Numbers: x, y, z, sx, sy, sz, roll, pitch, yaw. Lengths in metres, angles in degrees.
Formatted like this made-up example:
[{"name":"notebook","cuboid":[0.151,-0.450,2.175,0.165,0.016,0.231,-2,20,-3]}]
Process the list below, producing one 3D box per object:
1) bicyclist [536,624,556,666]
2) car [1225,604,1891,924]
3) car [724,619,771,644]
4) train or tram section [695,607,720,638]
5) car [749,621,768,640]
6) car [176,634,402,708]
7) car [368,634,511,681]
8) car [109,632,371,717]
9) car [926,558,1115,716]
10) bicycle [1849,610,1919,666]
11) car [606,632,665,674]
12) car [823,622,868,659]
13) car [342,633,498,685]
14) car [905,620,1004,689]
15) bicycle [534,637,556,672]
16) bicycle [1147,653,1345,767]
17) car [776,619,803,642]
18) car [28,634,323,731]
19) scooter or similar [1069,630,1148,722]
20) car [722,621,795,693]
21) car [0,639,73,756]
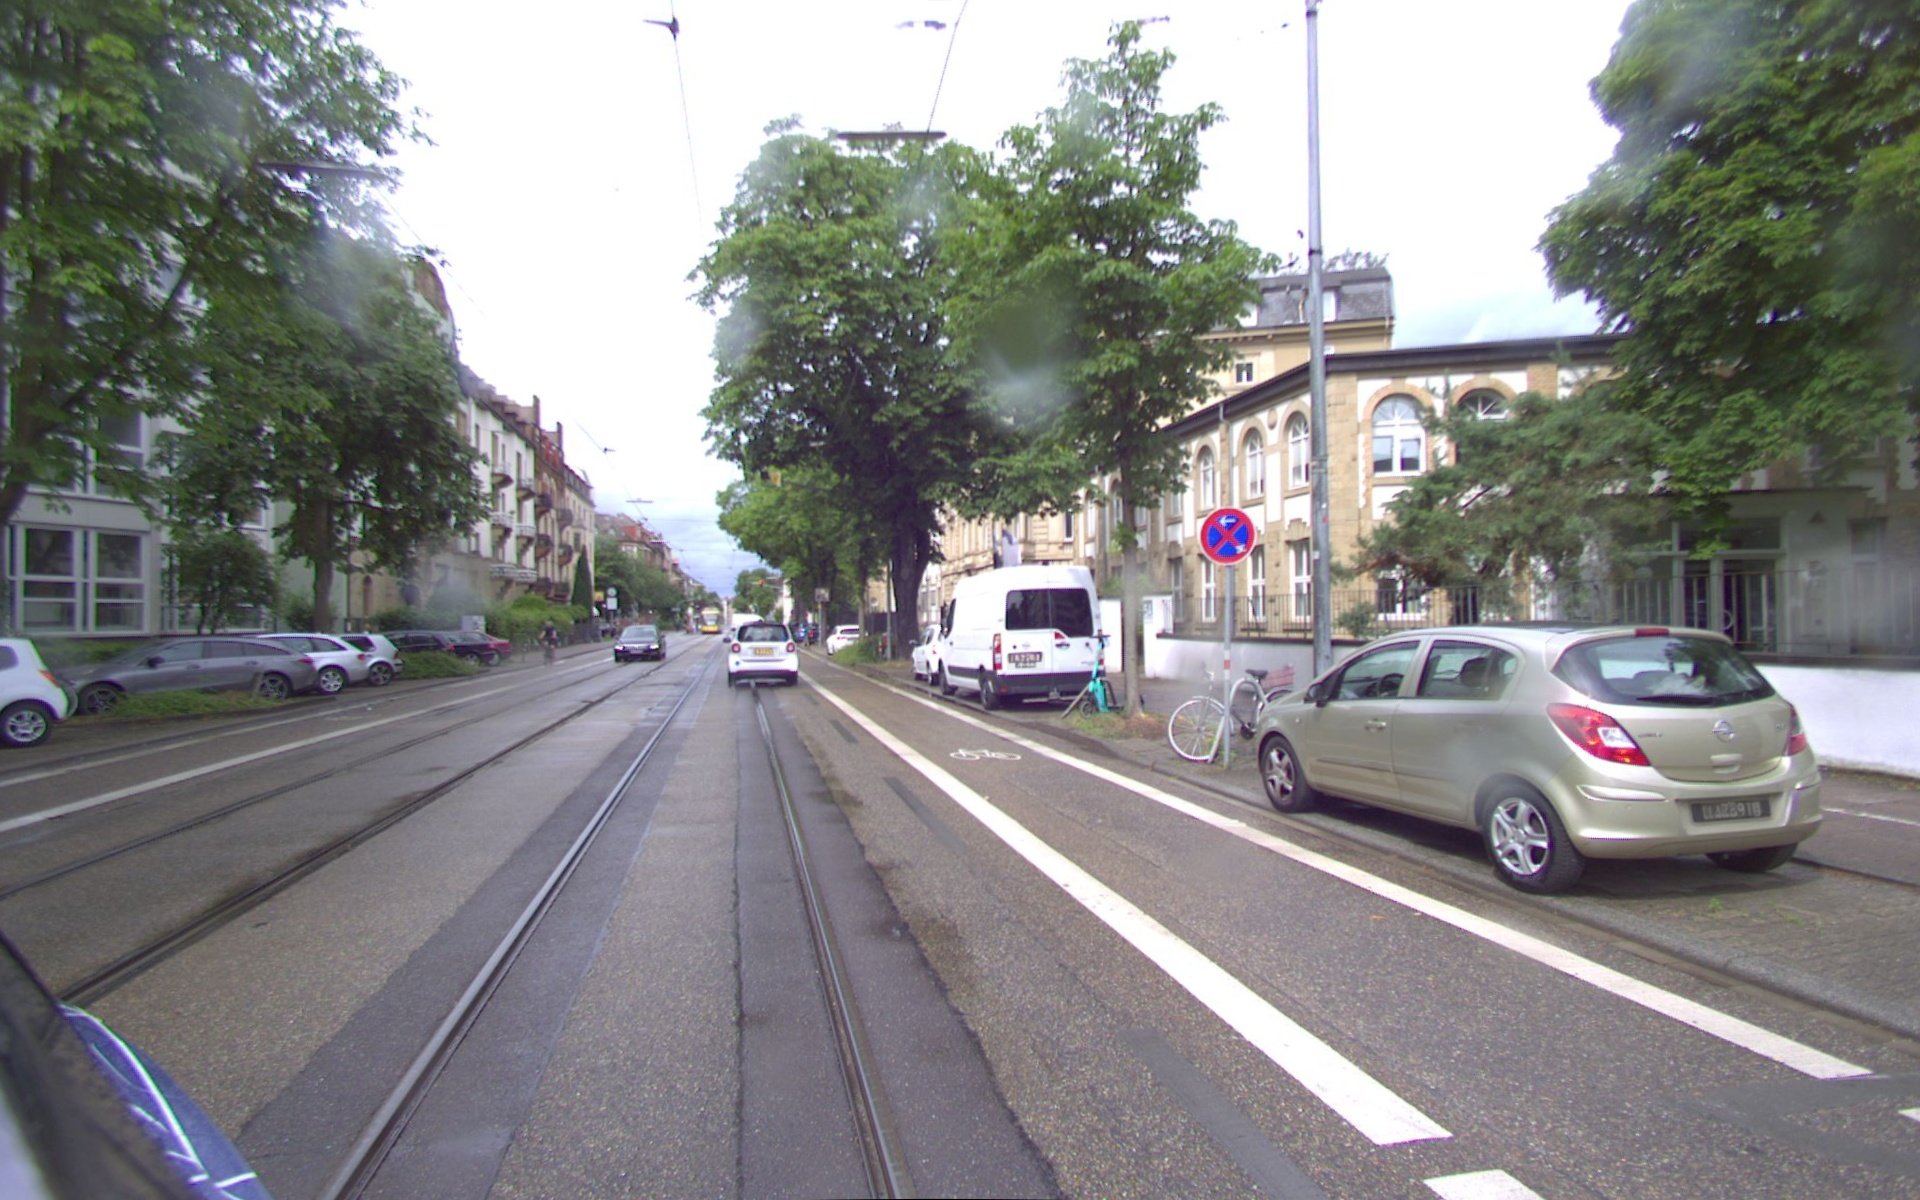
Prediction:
[{"name":"bicyclist","cuboid":[-16.357,1.770,39.976,0.634,1.629,0.676,-2,0,-18]},{"name":"car","cuboid":[3.533,0.843,6.929,1.662,1.471,3.842,-2,-1,-13]},{"name":"car","cuboid":[-27.003,3.947,128.726,5.630,2.852,2.762,-2,0,-11]},{"name":"train or tram section","cuboid":[-34.030,3.000,136.743,2.973,3.902,9.598,-2,0,-13]},{"name":"car","cuboid":[-22.123,3.364,111.249,1.818,1.900,3.931,-2,0,-8]},{"name":"car","cuboid":[-16.712,1.704,25.403,1.900,1.463,4.323,-2,0,33]},{"name":"car","cuboid":[-19.610,2.131,38.274,1.905,1.463,4.381,-2,0,41]},{"name":"car","cuboid":[-15.816,1.570,22.463,1.880,1.463,4.345,-2,0,33]},{"name":"car","cuboid":[0.938,0.667,19.404,2.105,2.529,5.286,-2,-1,-13]},{"name":"bicycle","cuboid":[19.780,0.790,21.415,0.611,1.124,1.917,-2,-2,15]},{"name":"car","cuboid":[-13.381,2.133,41.993,1.967,1.492,4.776,-2,-1,-14]},{"name":"car","cuboid":[-5.376,1.840,47.082,1.766,1.509,4.038,-2,0,-10]},{"name":"car","cuboid":[-18.763,2.002,35.295,1.905,1.463,4.381,-2,0,41]},{"name":"car","cuboid":[-0.215,1.345,25.619,1.883,1.562,3.377,-2,-2,-11]},{"name":"bicycle","cuboid":[-16.427,2.149,40.087,0.634,1.275,1.874,-2,0,-18]},{"name":"bicycle","cuboid":[3.062,1.154,10.868,1.896,0.994,0.687,-4,0,-14]},{"name":"car","cuboid":[-14.198,2.513,84.021,1.836,1.766,4.129,-2,0,-13]},{"name":"car","cuboid":[-15.021,1.508,19.613,1.809,1.463,4.159,-2,0,33]},{"name":"scooter or similar","cuboid":[2.175,1.090,14.767,1.129,1.287,0.427,1,-4,-38]},{"name":"car","cuboid":[-4.879,1.330,24.383,1.588,1.526,2.613,-2,0,-12]},{"name":"car","cuboid":[-13.783,1.342,12.549,1.772,1.464,3.840,-3,0,32]}]
